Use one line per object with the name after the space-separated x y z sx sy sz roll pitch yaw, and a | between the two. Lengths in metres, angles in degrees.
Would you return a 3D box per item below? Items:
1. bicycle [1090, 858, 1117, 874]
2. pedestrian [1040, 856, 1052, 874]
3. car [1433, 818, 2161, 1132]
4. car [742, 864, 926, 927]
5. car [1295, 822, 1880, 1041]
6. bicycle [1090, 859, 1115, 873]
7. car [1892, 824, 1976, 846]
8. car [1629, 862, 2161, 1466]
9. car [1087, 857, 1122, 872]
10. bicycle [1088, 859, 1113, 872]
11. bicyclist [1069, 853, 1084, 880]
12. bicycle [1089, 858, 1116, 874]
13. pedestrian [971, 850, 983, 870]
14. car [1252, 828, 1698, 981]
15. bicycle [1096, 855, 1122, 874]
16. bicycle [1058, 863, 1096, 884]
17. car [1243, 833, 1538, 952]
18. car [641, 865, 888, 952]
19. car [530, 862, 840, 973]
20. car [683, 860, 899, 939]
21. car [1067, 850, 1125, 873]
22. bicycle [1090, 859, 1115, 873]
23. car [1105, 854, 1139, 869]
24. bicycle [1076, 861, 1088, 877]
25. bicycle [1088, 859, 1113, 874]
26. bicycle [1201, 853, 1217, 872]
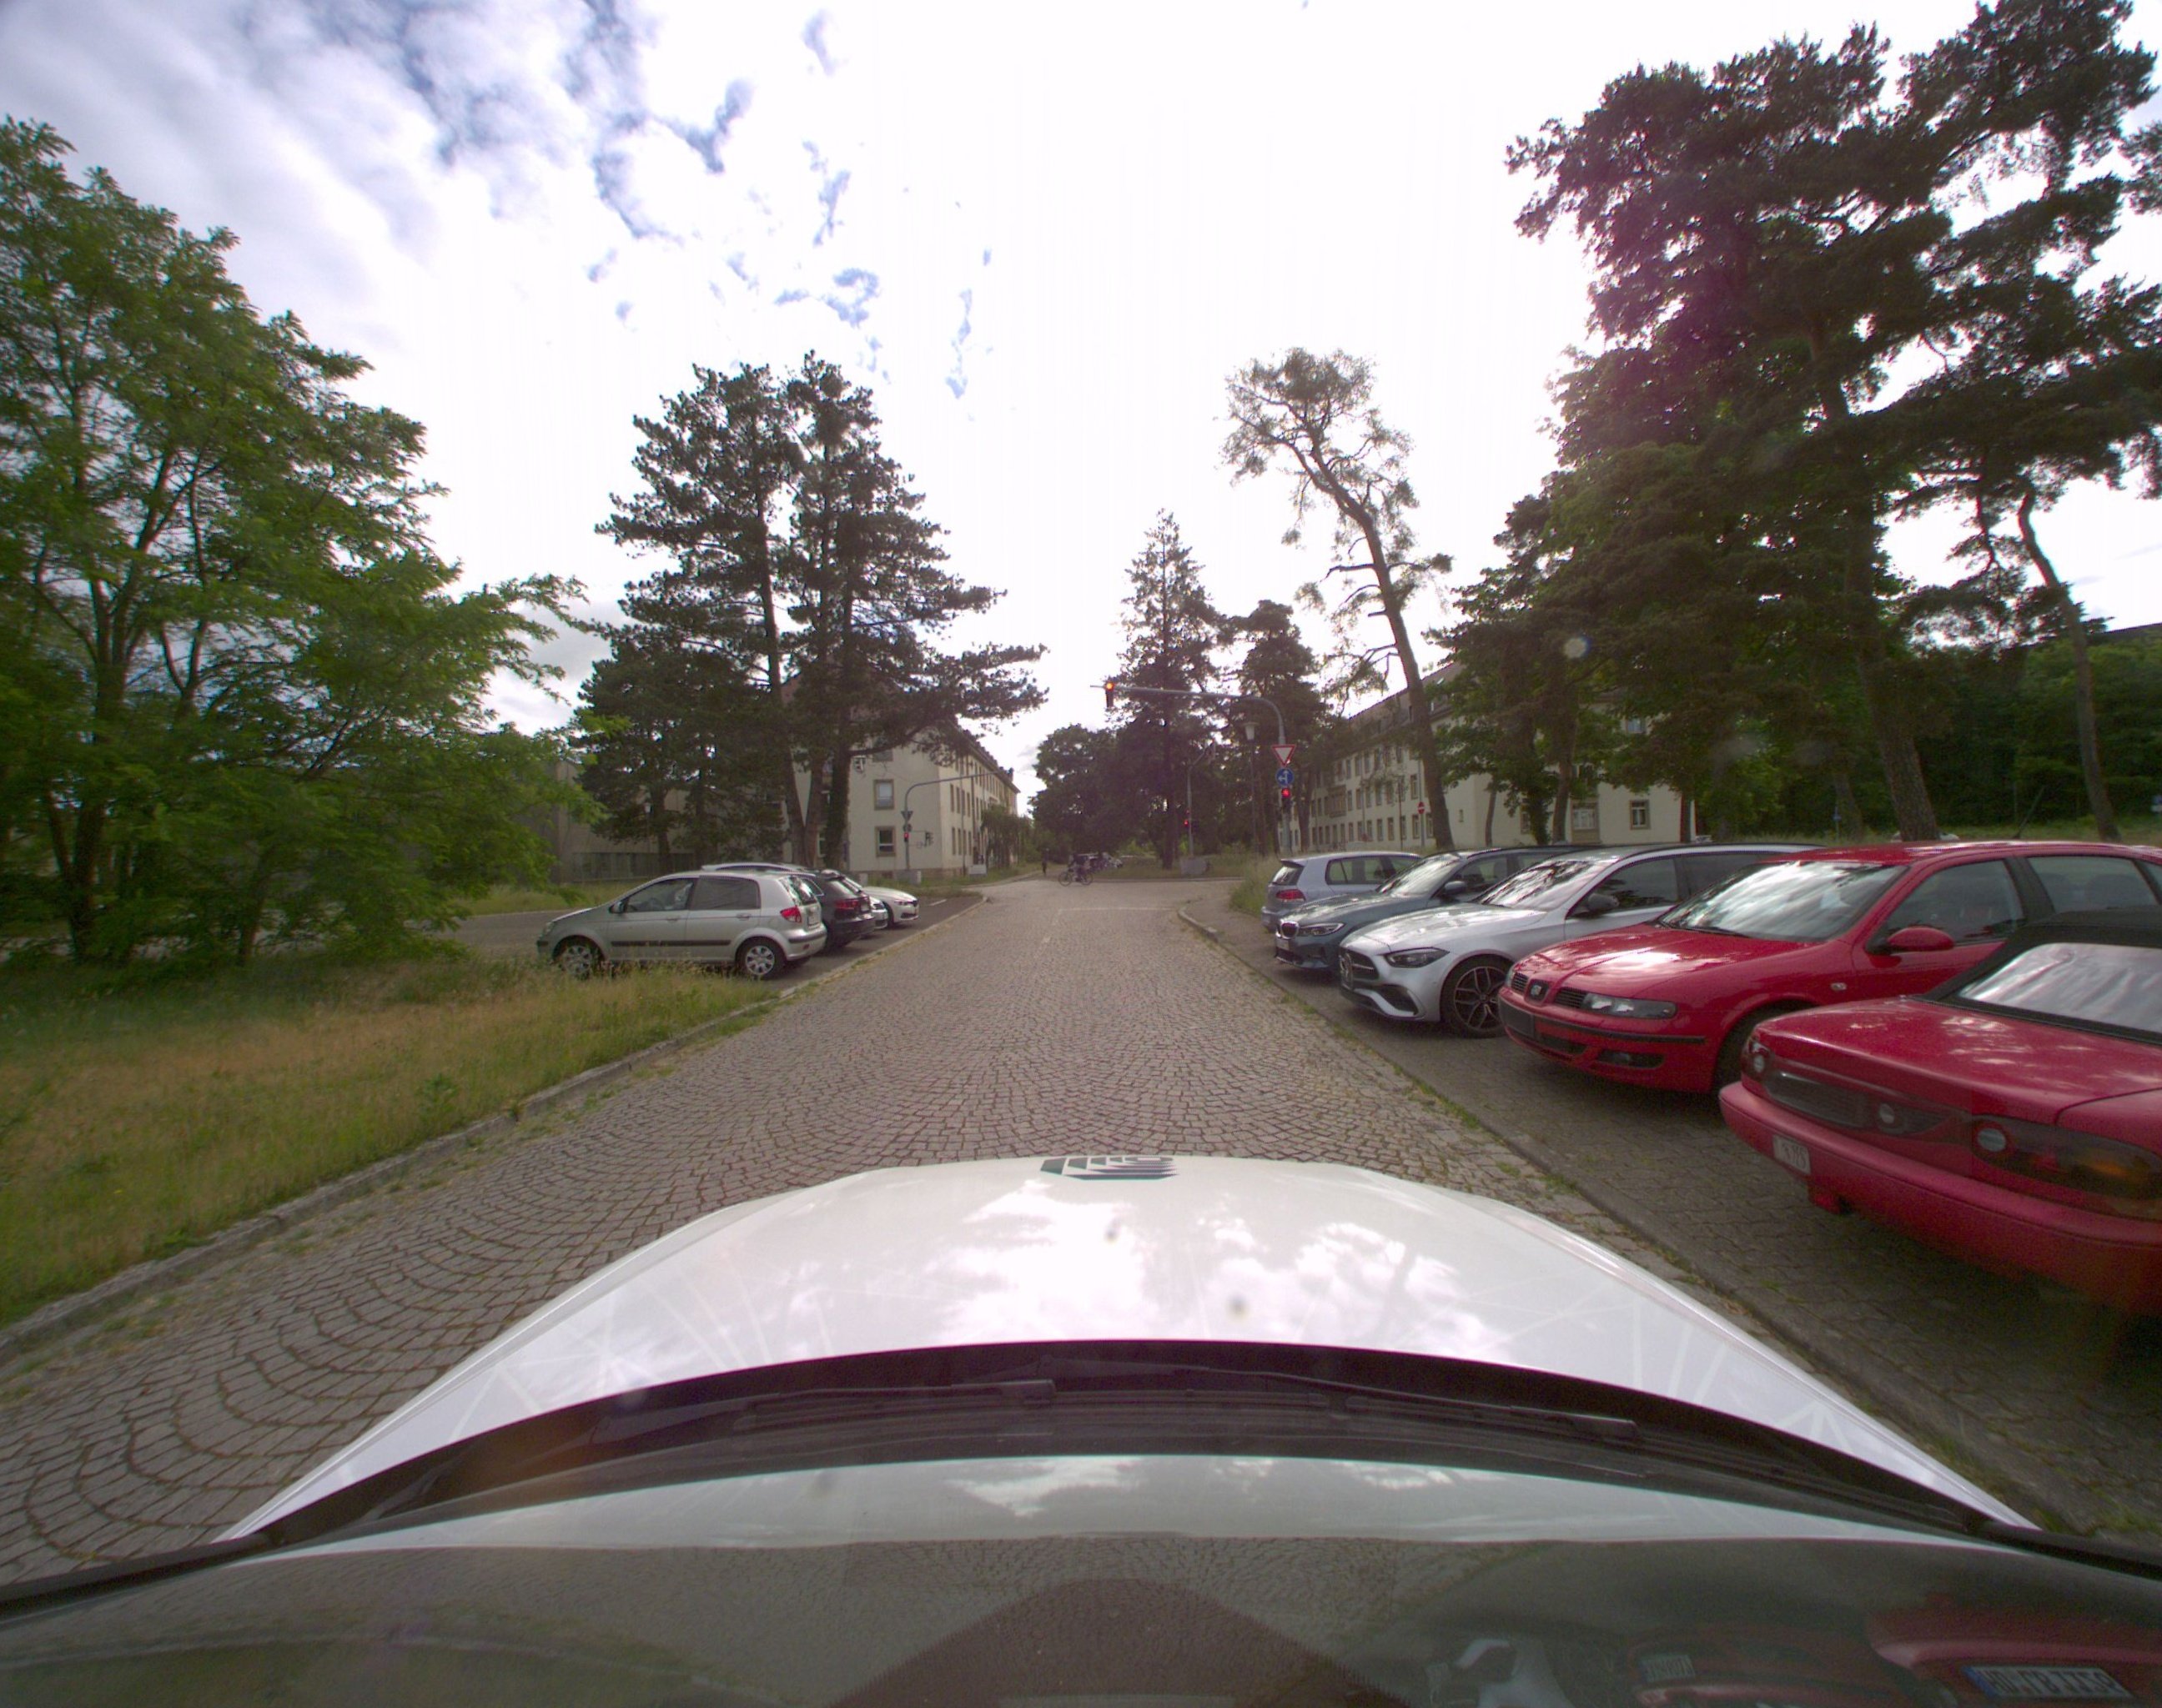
1.684 0.907 61.514 1.953 1.132 0.586 -2 0 -7 | bicycle
-3.152 1.007 73.649 0.742 1.618 0.770 -2 0 -25 | pedestrian
4.841 0.620 5.280 4.248 1.416 1.871 -4 0 0 | car
-5.898 0.972 19.756 3.935 1.421 1.650 0 0 -1 | car
4.487 0.589 7.547 4.421 1.416 1.865 -4 0 -9 | car
1.695 0.968 64.980 1.967 1.069 0.582 -2 0 -30 | bicycle
57.890 -1.279 55.307 3.931 1.421 1.651 0 0 3 | car
4.410 0.688 2.794 3.851 1.236 1.757 -4 0 -1 | car
2.170 0.947 76.065 3.001 1.268 1.532 -2 0 -6 | car
1.643 0.969 68.666 1.964 1.069 0.583 -2 0 -25 | bicycle
-0.240 0.652 42.948 0.747 1.410 0.605 -2 0 0 | bicyclist
1.627 0.935 62.147 1.953 1.117 0.586 -2 0 -7 | bicycle
-9.855 0.601 77.210 0.779 1.837 0.733 -2 -1 -31 | pedestrian
4.723 0.573 10.235 4.669 1.416 1.869 -4 0 -2 | car
2.170 0.837 62.980 1.953 1.384 0.586 -2 0 -7 | bicycle
-0.223 1.028 42.957 1.949 1.024 0.605 -2 0 0 | bicycle
4.666 0.565 12.686 3.912 1.477 1.643 -4 0 1 | car
-5.468 0.926 14.437 3.737 1.428 1.581 0 0 -3 | car
-5.587 0.881 11.839 3.694 1.479 1.581 0 0 -3 | car
-6.008 0.932 17.219 3.938 1.563 1.648 0 0 -3 | car
1.442 0.709 79.598 5.359 1.925 2.019 -4 0 -9 | car
1.730 0.958 66.334 1.964 1.069 0.583 -2 0 -25 | bicycle
4.199 0.735 83.488 3.224 1.416 1.723 -2 0 -3 | car
0.061 1.056 58.311 0.602 1.132 1.958 -2 0 -5 | bicycle
1.533 0.967 63.629 1.967 1.069 0.582 -2 0 -30 | bicycle
7.758 0.490 49.430 0.584 1.106 1.961 -2 0 0 | bicycle
